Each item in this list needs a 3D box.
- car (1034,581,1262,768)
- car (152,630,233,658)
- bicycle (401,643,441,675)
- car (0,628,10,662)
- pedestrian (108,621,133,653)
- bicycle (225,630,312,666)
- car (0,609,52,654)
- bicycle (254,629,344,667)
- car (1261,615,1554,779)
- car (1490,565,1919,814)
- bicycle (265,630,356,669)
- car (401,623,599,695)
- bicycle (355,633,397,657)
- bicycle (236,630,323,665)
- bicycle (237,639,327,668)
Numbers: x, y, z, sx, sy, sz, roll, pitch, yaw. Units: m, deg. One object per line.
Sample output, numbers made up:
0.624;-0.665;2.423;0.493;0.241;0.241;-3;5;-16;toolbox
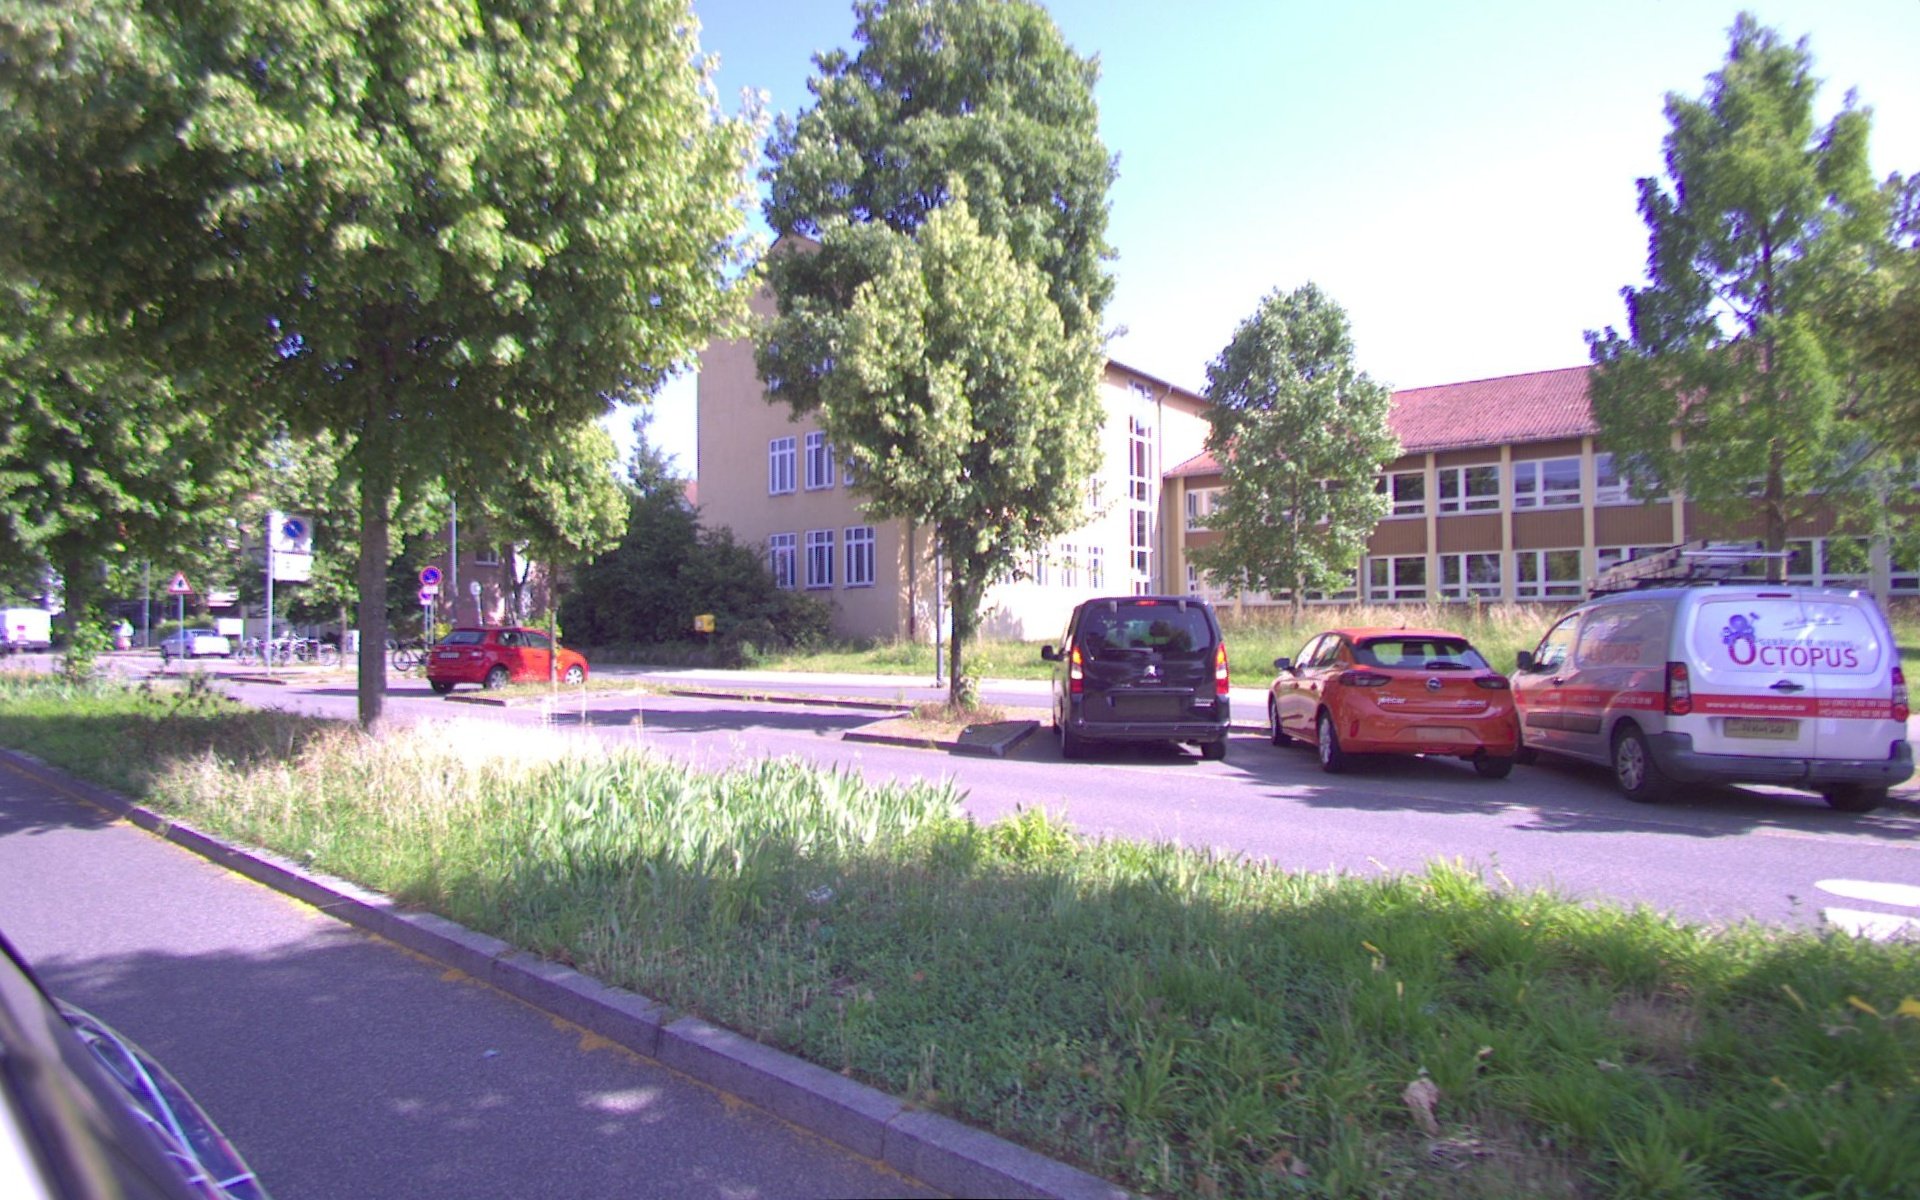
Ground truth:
2.018;0.819;12.160;1.977;1.830;4.186;-1;-2;1;car
-36.321;2.111;47.888;3.986;1.276;1.707;-2;-3;31;car
-16.000;1.732;30.037;1.267;0.910;0.516;-1;-2;34;bicycle
-45.744;2.044;46.838;4.063;1.559;1.726;-1;-3;35;car
-47.999;2.087;57.859;0.723;1.793;0.965;-2;-2;35;pedestrian
-25.418;1.770;37.268;0.738;1.266;2.521;-2;-3;36;bicycle
-55.278;1.889;58.585;5.924;2.516;2.076;-2;-3;28;car
-22.796;1.636;34.948;0.738;1.266;2.492;-2;-3;36;bicycle
4.529;0.934;10.900;1.834;1.438;3.765;-1;-2;7;car
6.546;0.679;9.216;1.798;1.785;3.765;-1;-1;7;car
-21.946;1.656;34.250;0.738;1.266;2.521;-2;-2;36;bicycle
-10.366;1.318;23.149;1.983;1.478;3.976;-1;-3;18;car
-27.426;2.089;47.574;1.688;1.089;0.378;-1;-2;-10;bicycle
-24.642;1.713;36.687;0.738;1.249;2.521;-2;-3;36;bicycle
-23.869;1.873;35.686;0.738;0.995;2.521;-2;-3;36;bicycle
